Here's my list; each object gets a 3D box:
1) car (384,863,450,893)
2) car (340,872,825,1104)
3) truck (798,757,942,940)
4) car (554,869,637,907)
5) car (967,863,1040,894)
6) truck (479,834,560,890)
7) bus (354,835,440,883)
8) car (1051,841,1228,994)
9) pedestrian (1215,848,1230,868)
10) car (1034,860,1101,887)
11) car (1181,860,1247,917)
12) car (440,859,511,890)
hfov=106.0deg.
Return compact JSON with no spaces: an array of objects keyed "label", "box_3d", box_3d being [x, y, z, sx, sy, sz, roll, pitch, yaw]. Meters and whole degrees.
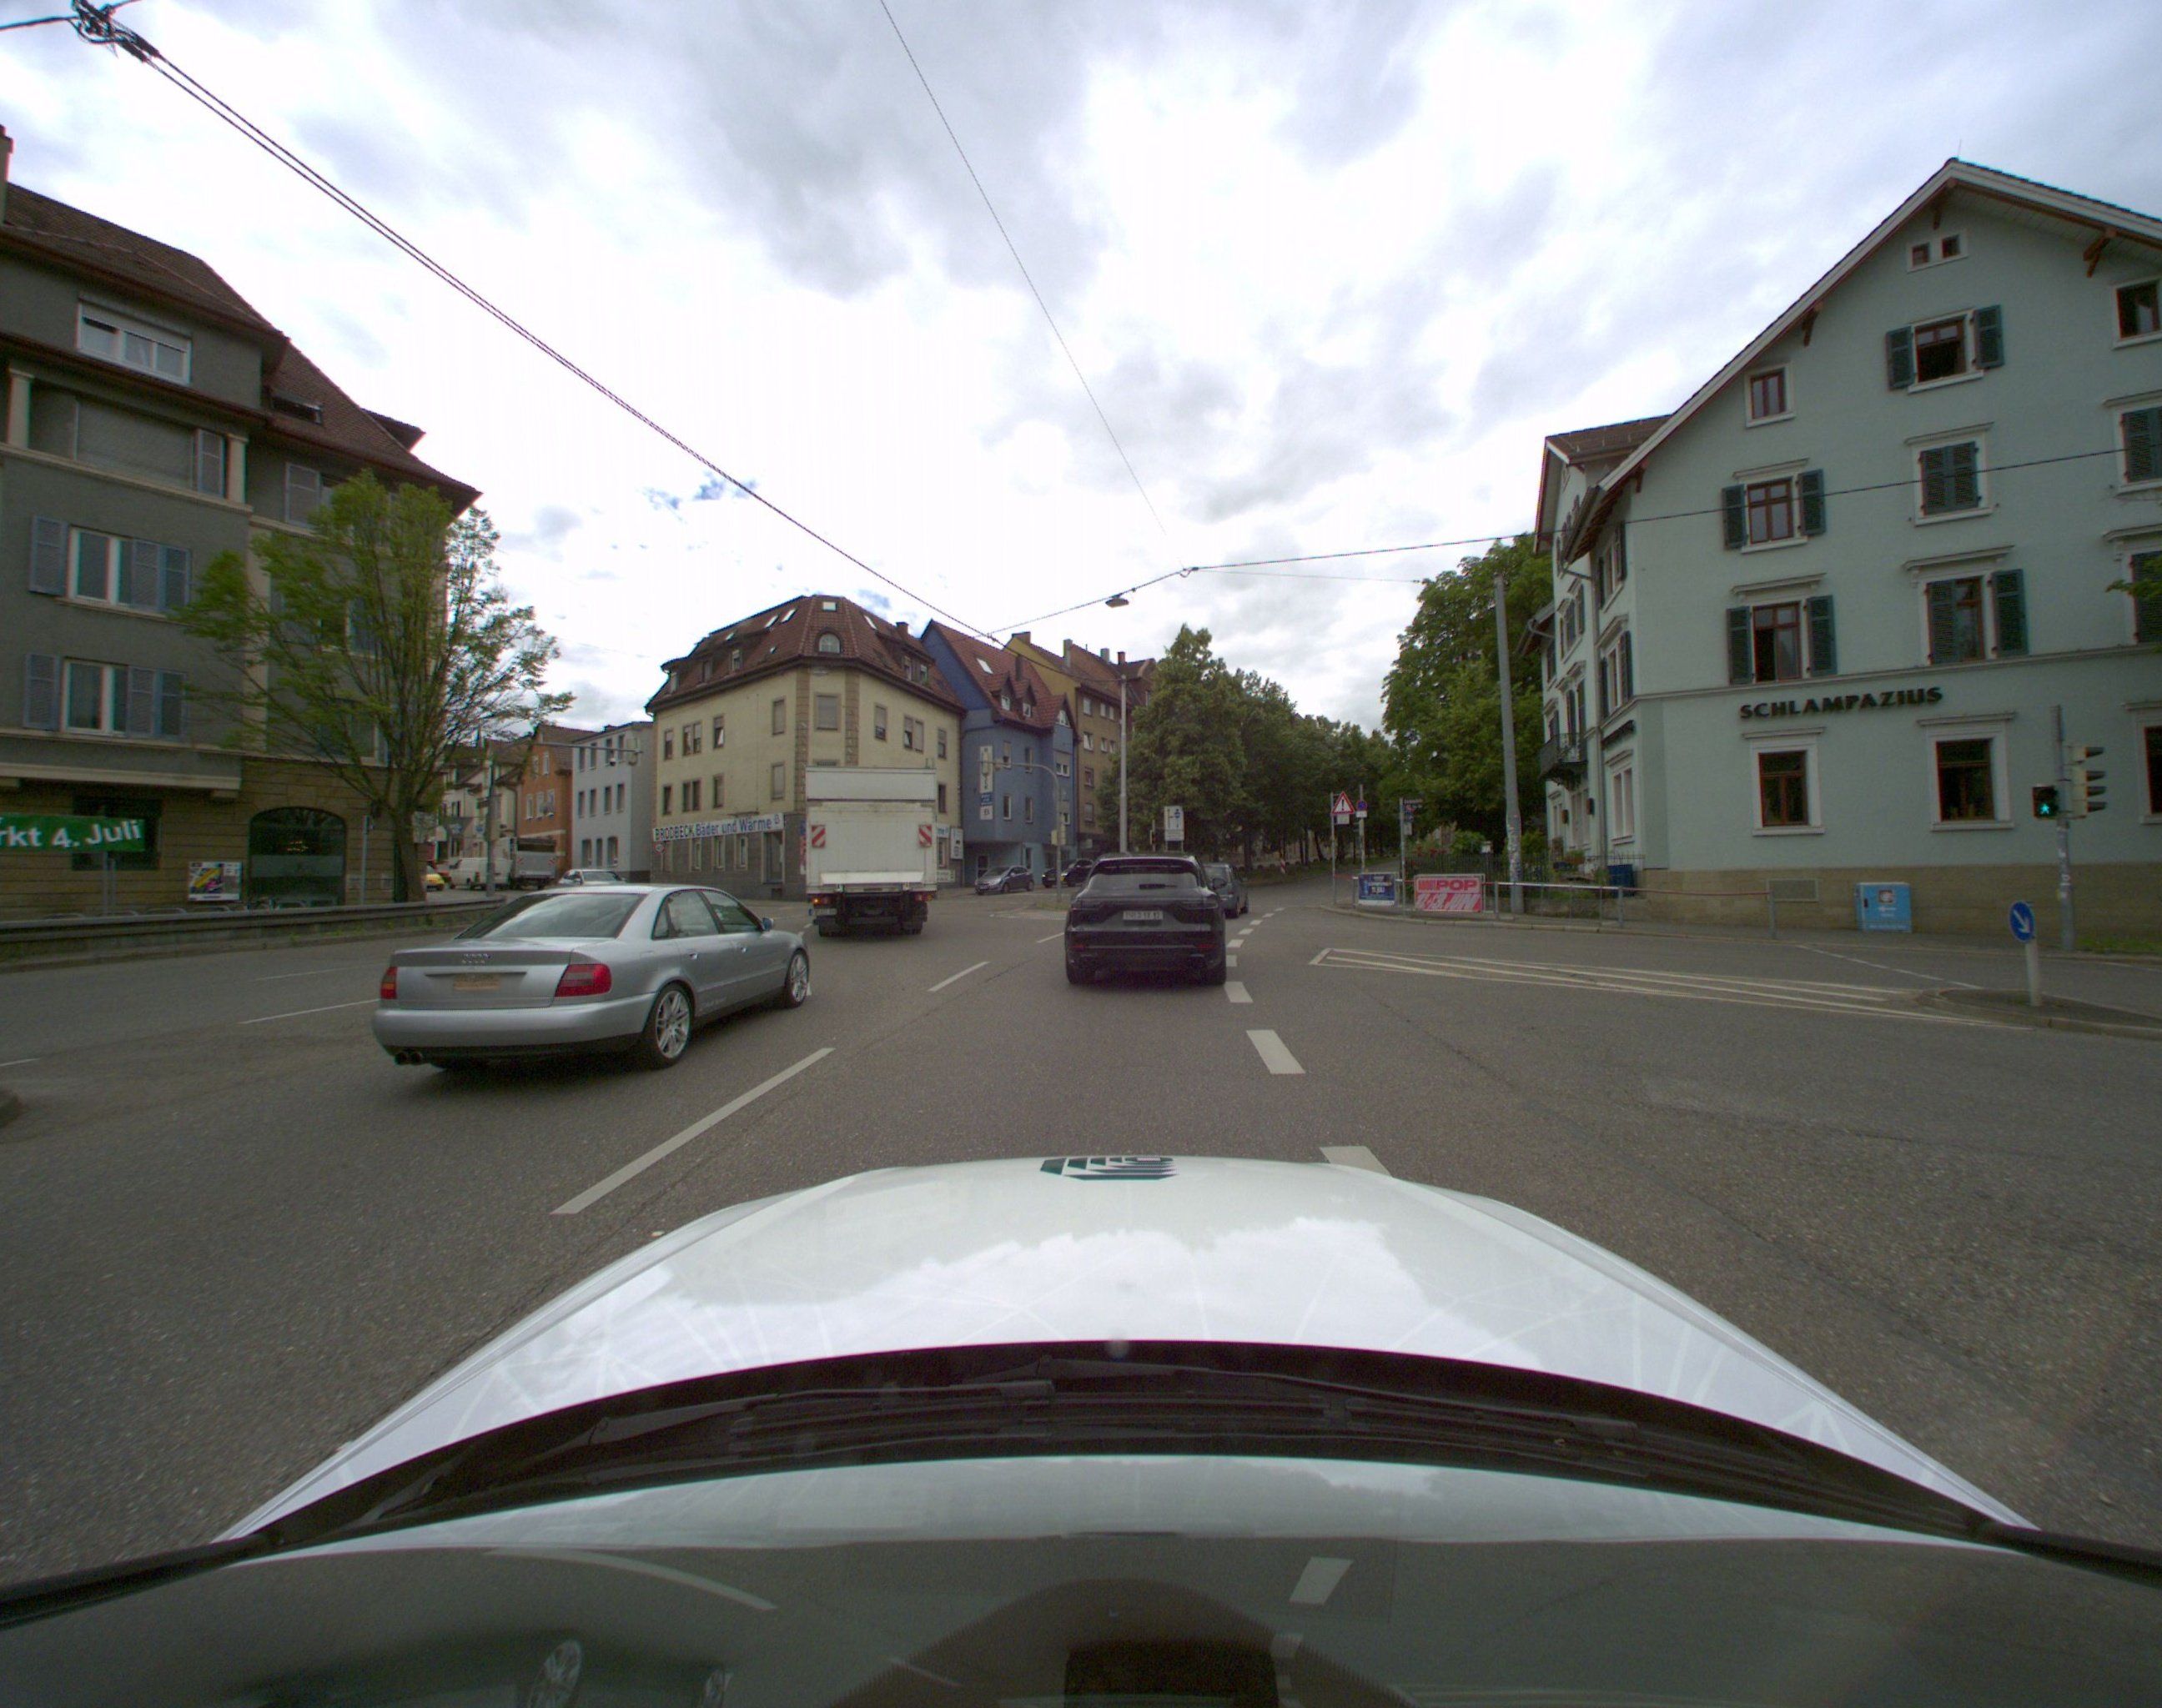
[{"label":"car","box_3d":[-38.412,1.338,47.085,3.948,1.601,2.013,0,0,35]},{"label":"car","box_3d":[-3.825,0.894,7.249,1.622,1.365,4.130,1,0,2]},{"label":"truck","box_3d":[-5.177,-0.053,20.140,2.730,3.544,8.379,1,-1,-15]},{"label":"car","box_3d":[-20.247,1.390,33.911,3.925,1.470,1.892,-2,-2,42]},{"label":"car","box_3d":[-3.994,1.237,42.720,1.700,1.476,4.244,-3,-2,29]},{"label":"truck","box_3d":[-36.004,0.517,52.147,5.369,3.354,2.716,0,-1,38]},{"label":"bus","box_3d":[-48.564,0.354,57.733,7.563,3.243,2.828,0,-1,36]},{"label":"car","box_3d":[0.973,0.714,11.531,2.020,1.723,4.510,0,0,8]},{"label":"pedestrian","box_3d":[14.348,0.458,82.612,1.181,2.014,0.995,-1,-1,26]},{"label":"car","box_3d":[-0.734,1.156,49.166,1.852,1.416,4.728,-2,0,30]},{"label":"car","box_3d":[4.029,0.982,24.278,1.637,1.556,3.596,0,-1,14]},{"label":"car","box_3d":[-36.286,1.200,48.775,4.280,1.799,2.078,-1,0,33]}]
